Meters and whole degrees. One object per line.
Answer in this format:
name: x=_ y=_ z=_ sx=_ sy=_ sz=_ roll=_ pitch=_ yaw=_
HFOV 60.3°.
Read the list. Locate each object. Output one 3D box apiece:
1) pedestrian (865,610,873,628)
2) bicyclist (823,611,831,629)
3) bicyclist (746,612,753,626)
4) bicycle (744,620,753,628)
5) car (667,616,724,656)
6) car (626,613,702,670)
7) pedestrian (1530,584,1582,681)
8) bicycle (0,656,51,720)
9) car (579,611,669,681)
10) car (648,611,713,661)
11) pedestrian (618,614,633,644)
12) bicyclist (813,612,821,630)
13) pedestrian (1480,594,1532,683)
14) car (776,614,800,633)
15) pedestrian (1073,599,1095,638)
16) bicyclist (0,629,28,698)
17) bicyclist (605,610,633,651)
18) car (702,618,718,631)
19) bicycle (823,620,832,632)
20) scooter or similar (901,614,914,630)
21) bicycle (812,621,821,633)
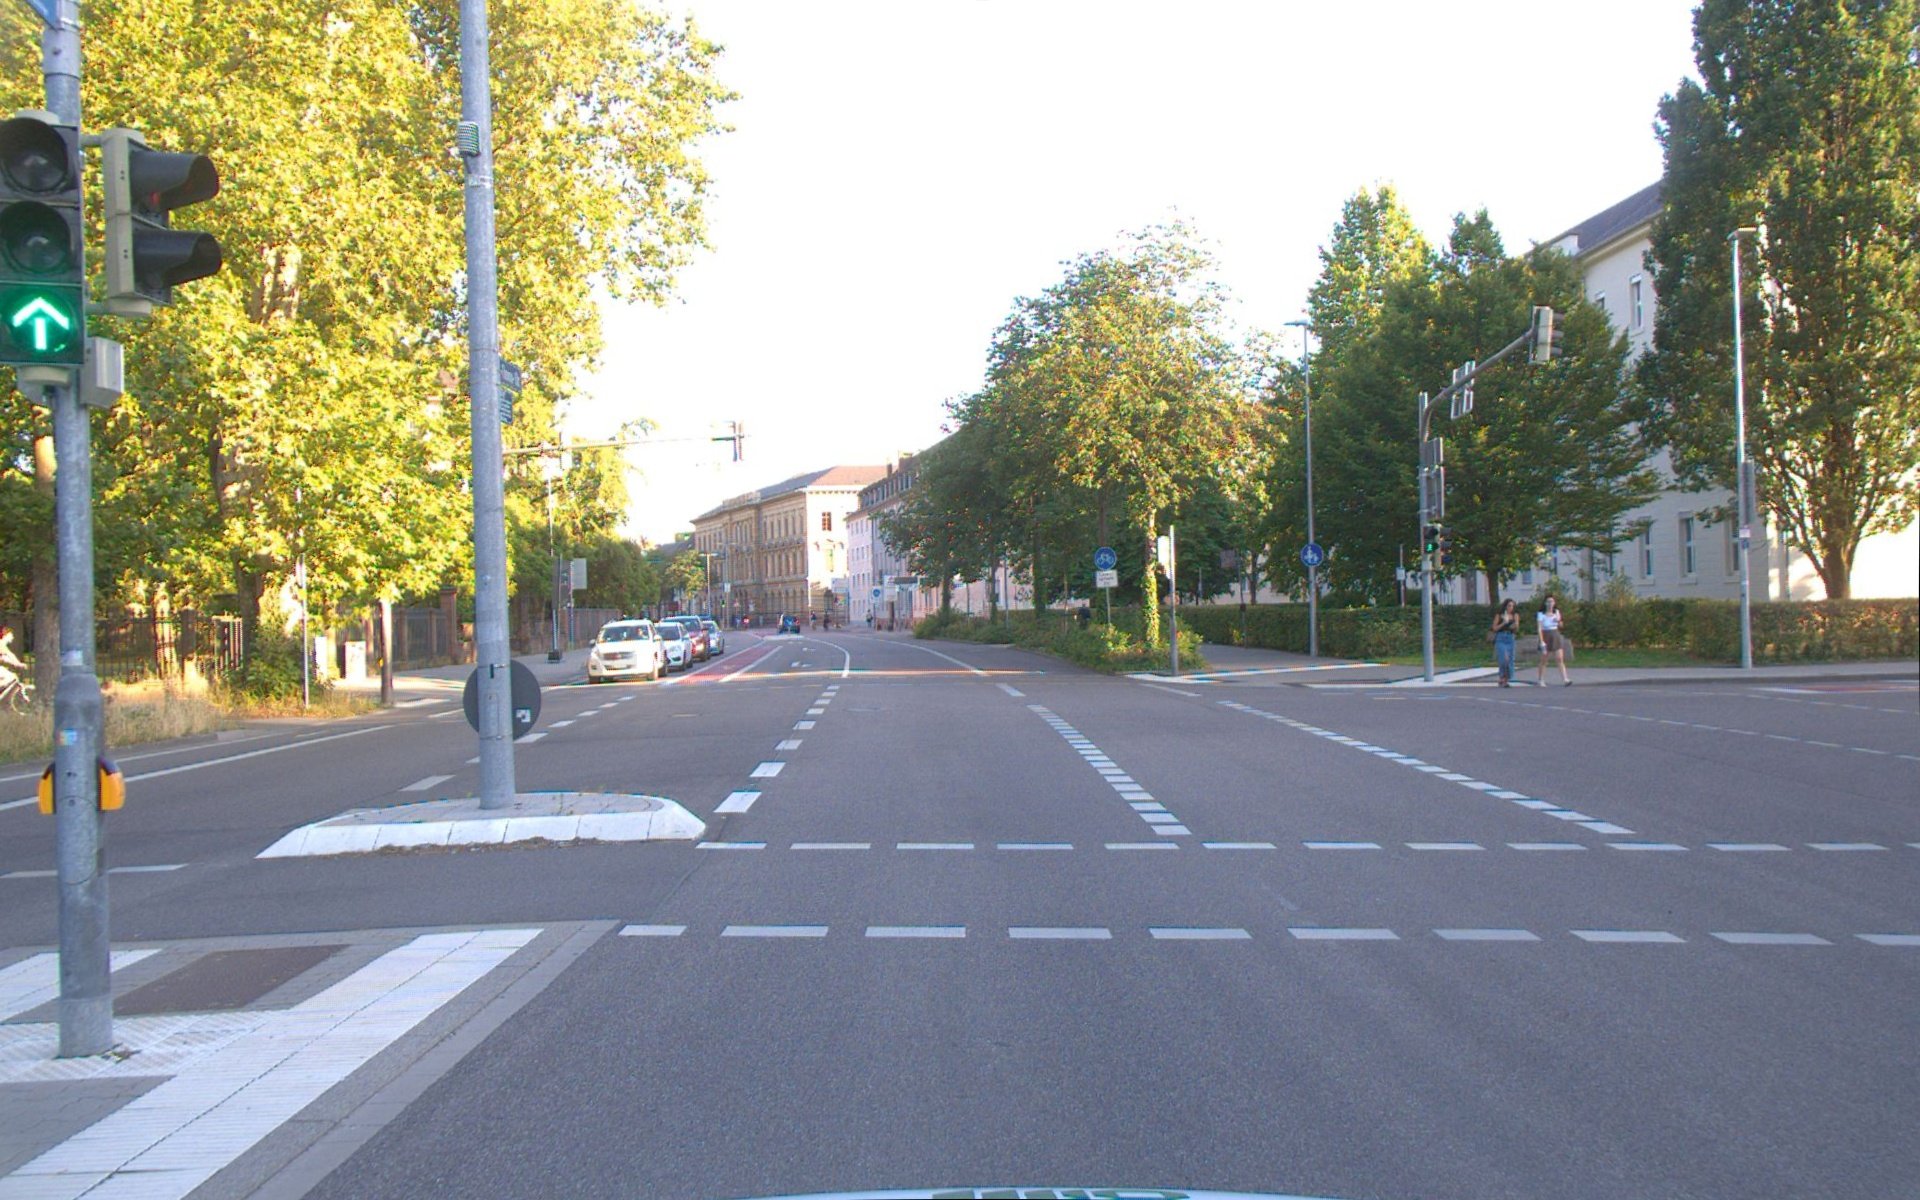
pedestrian: x=-8.909 y=1.878 z=162.083 sx=0.747 sy=1.786 sz=0.844 roll=-1 pitch=-1 yaw=-4
bicyclist: x=-11.506 y=1.746 z=143.199 sx=0.639 sy=1.501 sz=0.939 roll=1 pitch=-1 yaw=-7
bicyclist: x=-26.248 y=2.309 z=205.821 sx=0.642 sy=1.727 sz=0.951 roll=1 pitch=-1 yaw=-21
bicycle: x=-26.288 y=3.006 z=205.884 sx=0.642 sy=1.033 sz=2.184 roll=1 pitch=-1 yaw=-21
car: x=-10.753 y=1.455 z=67.607 sx=1.879 sy=1.442 sz=4.765 roll=-3 pitch=0 yaw=-5
car: x=-9.405 y=1.290 z=52.792 sx=1.879 sy=1.611 sz=4.669 roll=-3 pitch=0 yaw=-5
pedestrian: x=11.168 y=0.600 z=31.001 sx=0.667 sy=1.784 sz=0.688 roll=-2 pitch=0 yaw=-1
bicycle: x=-19.369 y=1.791 z=33.475 sx=1.615 sy=1.251 sz=0.565 roll=-1 pitch=-1 yaw=-37
car: x=-9.287 y=1.234 z=46.052 sx=1.879 sy=1.725 sz=4.422 roll=-3 pitch=0 yaw=-5
car: x=-10.291 y=1.290 z=61.178 sx=1.879 sy=1.653 sz=4.634 roll=-3 pitch=0 yaw=-5
pedestrian: x=-18.611 y=1.606 z=92.010 sx=0.667 sy=1.651 sz=0.688 roll=-2 pitch=0 yaw=-1
bicyclist: x=-12.353 y=1.809 z=142.946 sx=0.640 sy=1.471 sz=0.877 roll=1 pitch=-1 yaw=-8
pedestrian: x=10.392 y=0.724 z=31.503 sx=0.667 sy=1.650 sz=0.845 roll=-2 pitch=0 yaw=-1
car: x=-13.992 y=1.933 z=134.755 sx=1.832 sy=1.536 sz=3.993 roll=-1 pitch=-1 yaw=-7
pedestrian: x=5.686 y=0.858 z=75.759 sx=0.756 sy=1.769 sz=0.805 roll=-1 pitch=0 yaw=-10
bicyclist: x=-19.394 y=1.286 z=33.500 sx=0.830 sy=1.385 sz=0.565 roll=-1 pitch=-1 yaw=-37
bicyclist: x=-12.638 y=1.125 z=61.315 sx=0.838 sy=1.456 sz=0.943 roll=-2 pitch=0 yaw=-1
car: x=-32.666 y=3.198 z=216.186 sx=1.882 sy=1.442 sz=4.757 roll=-3 pitch=0 yaw=-11
bicycle: x=-11.502 y=2.218 z=143.190 sx=0.639 sy=1.033 sz=2.194 roll=1 pitch=-1 yaw=-7
scooter or similar: x=-4.499 y=1.865 z=141.201 sx=0.619 sy=1.360 sz=2.391 roll=-1 pitch=-1 yaw=-14
bicycle: x=-12.381 y=2.341 z=143.111 sx=0.640 sy=1.033 sz=2.193 roll=1 pitch=-1 yaw=-8
